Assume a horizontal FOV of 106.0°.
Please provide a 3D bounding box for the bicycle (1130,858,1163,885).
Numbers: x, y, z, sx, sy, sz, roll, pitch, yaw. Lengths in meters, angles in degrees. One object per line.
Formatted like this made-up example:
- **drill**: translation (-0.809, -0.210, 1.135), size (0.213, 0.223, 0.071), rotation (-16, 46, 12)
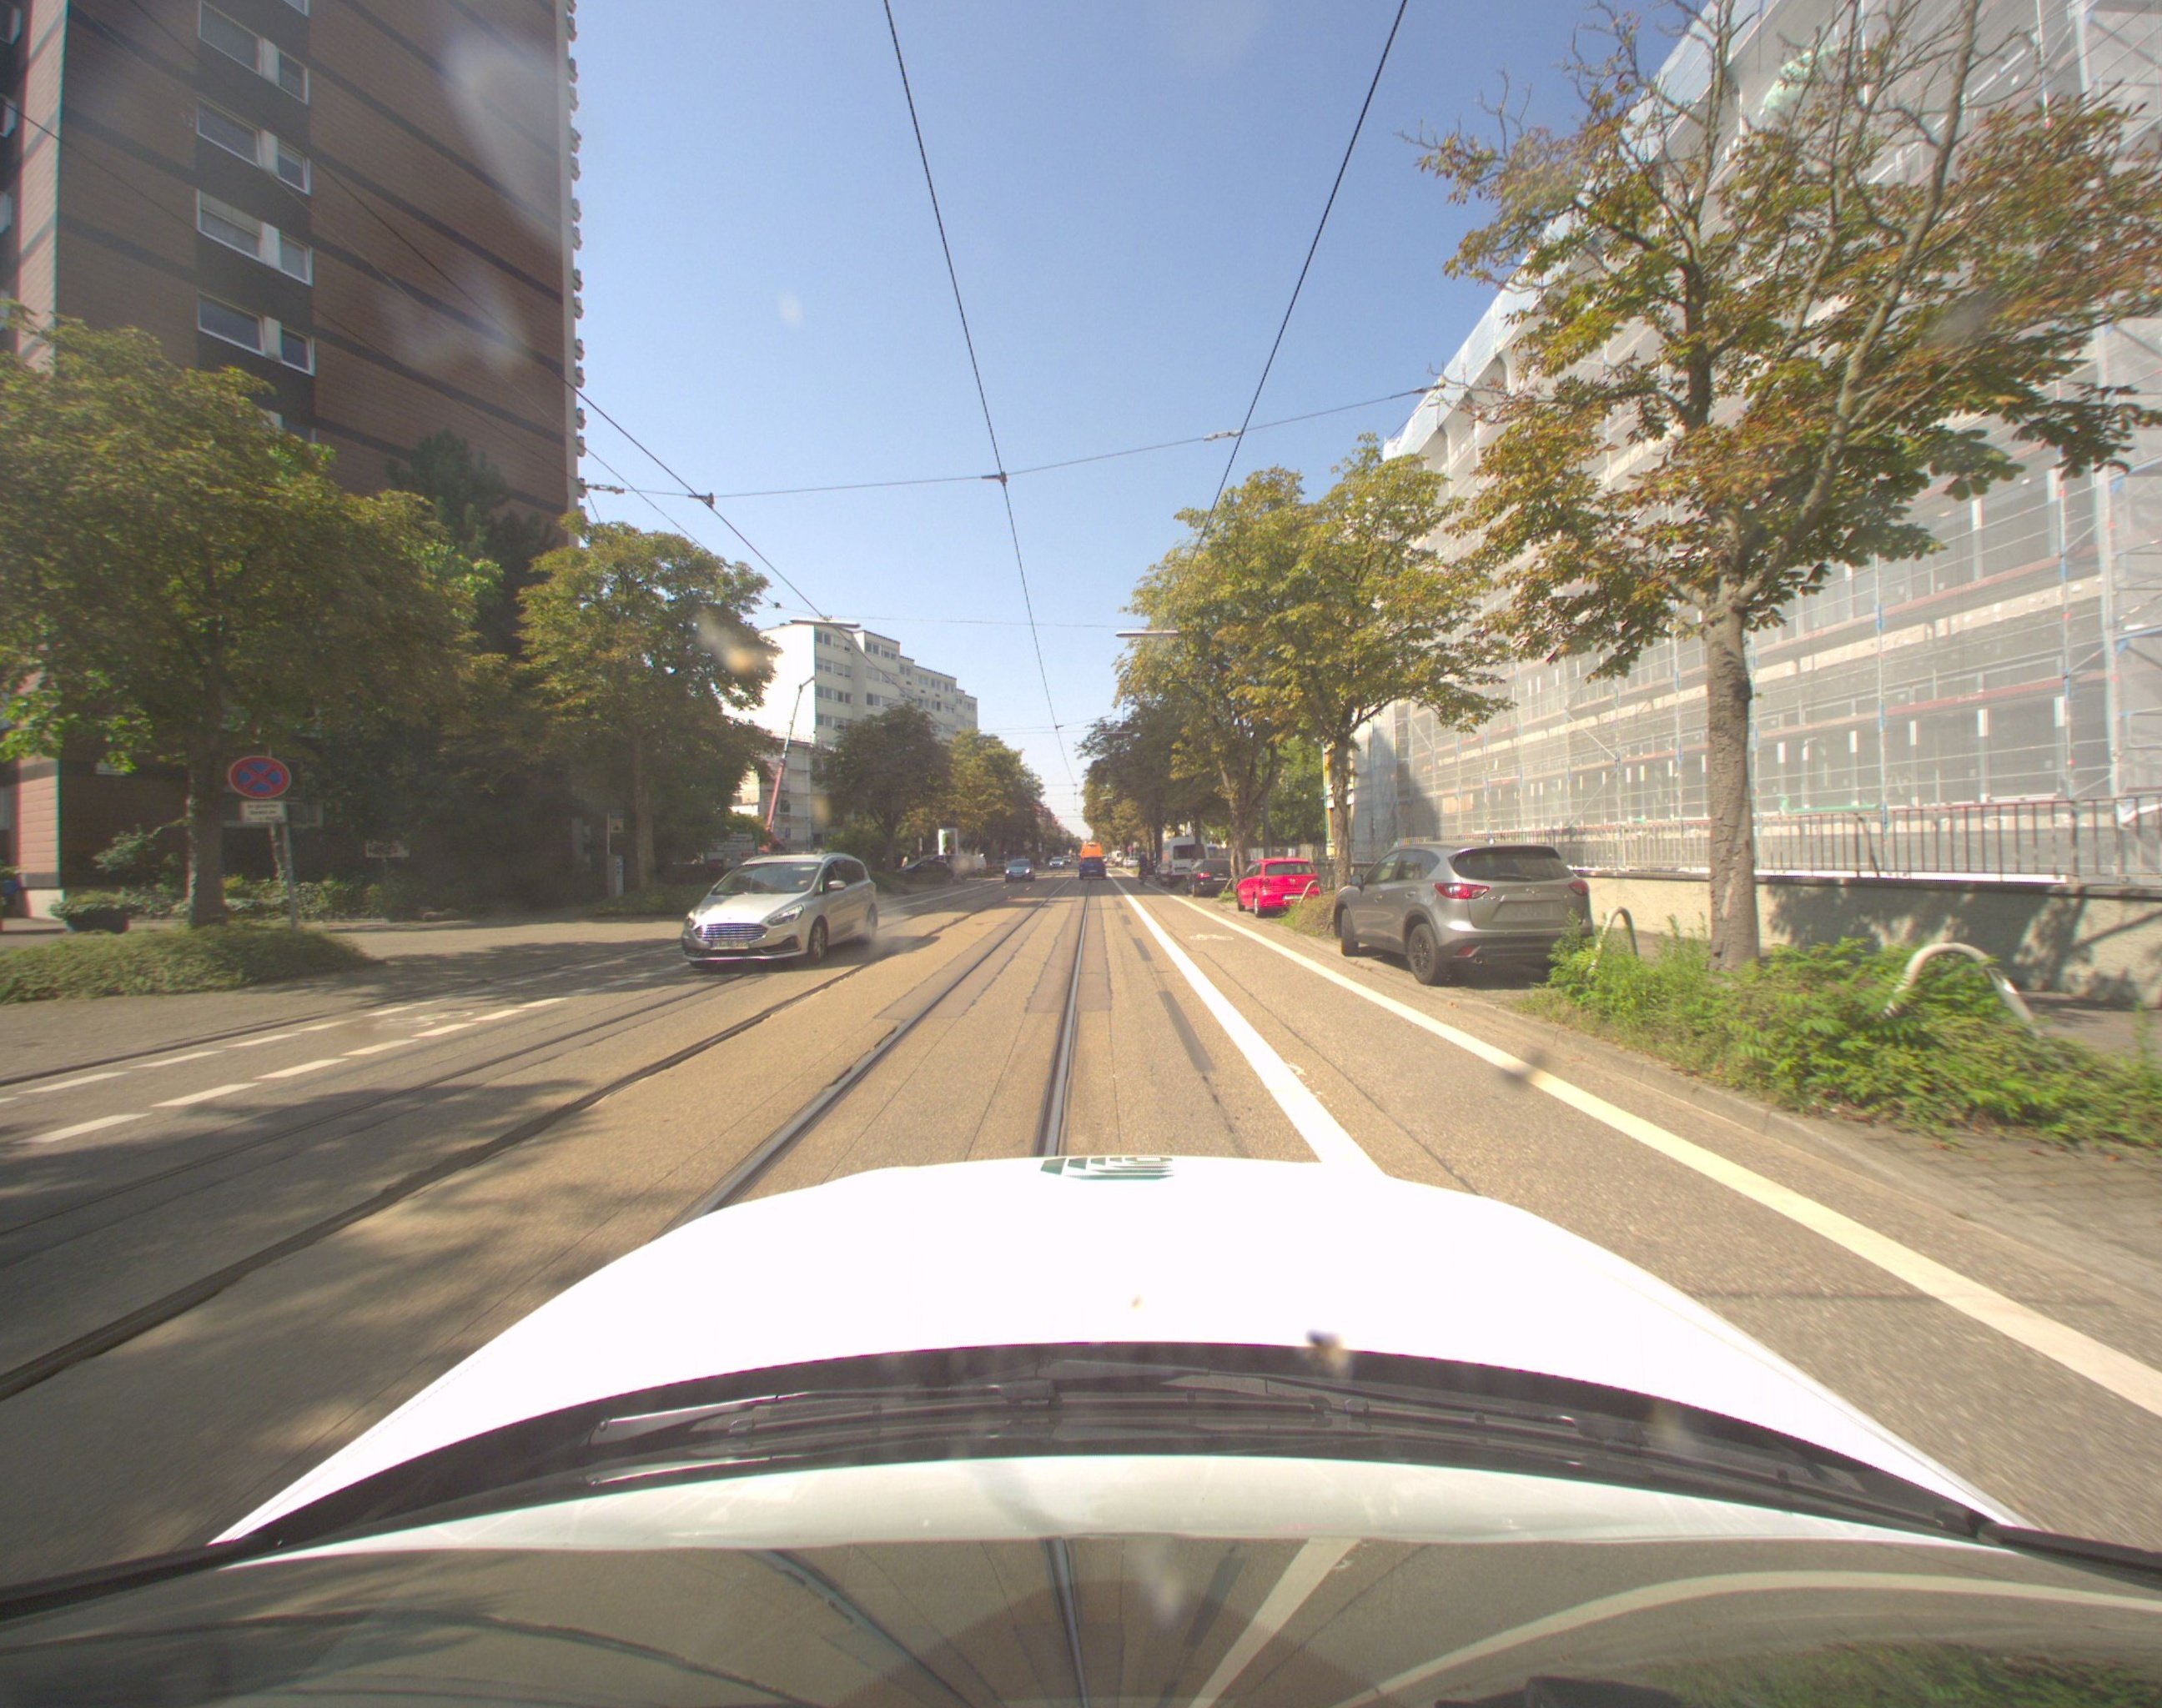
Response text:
- **bicycle**: translation (3.292, 0.839, 41.307), size (1.397, 1.134, 4.001), rotation (-1, 2, 1)

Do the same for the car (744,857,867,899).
- **car**: translation (-11.135, 0.940, 32.952), size (4.589, 1.552, 1.985), rotation (-1, 0, -23)

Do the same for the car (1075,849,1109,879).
- **car**: translation (0.752, 0.627, 55.272), size (2.128, 1.858, 5.569), rotation (-2, 0, 1)

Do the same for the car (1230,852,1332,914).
- **car**: translation (5.121, 0.700, 21.313), size (1.735, 1.462, 3.683), rotation (-1, 0, 0)

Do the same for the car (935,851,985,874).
- **car**: translation (-10.582, 0.724, 71.437), size (4.022, 2.013, 1.834), rotation (0, 0, -42)

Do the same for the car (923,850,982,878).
- **car**: translation (-9.586, 0.733, 60.759), size (4.022, 2.013, 1.834), rotation (0, 0, -42)

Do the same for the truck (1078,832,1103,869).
- **truck**: translation (0.894, -0.312, 74.756), size (2.128, 3.124, 6.086), rotation (-2, 0, 1)

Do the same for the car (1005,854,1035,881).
- **car**: translation (-3.909, 0.839, 52.540), size (1.628, 1.585, 4.188), rotation (-1, 0, 0)

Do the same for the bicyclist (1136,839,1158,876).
- **bicyclist**: translation (3.318, 0.168, 41.307), size (1.028, 1.812, 1.016), rotation (-1, 0, 0)

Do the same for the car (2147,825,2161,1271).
- **car**: translation (4.645, 0.684, 0.838), size (1.628, 1.585, 4.188), rotation (-1, 0, 0)

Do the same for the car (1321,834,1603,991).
- **car**: translation (4.744, 0.622, 10.933), size (1.735, 1.668, 4.361), rotation (-1, 0, 0)

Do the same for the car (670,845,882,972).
- **car**: translation (-4.647, 0.733, 13.158), size (1.774, 1.684, 4.346), rotation (-1, 0, 0)

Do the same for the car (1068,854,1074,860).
- **car**: translation (-2.765, 0.789, 224.966), size (1.741, 1.796, 3.999), rotation (-1, 0, 0)

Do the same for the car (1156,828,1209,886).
- **car**: translation (5.165, 0.140, 42.049), size (1.987, 2.755, 5.760), rotation (-1, 0, 0)

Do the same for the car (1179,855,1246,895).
- **car**: translation (4.988, 0.759, 31.454), size (1.902, 1.431, 4.291), rotation (-1, 0, 0)

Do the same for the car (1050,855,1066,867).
- **car**: translation (-2.944, 0.917, 105.869), size (1.893, 1.562, 4.121), rotation (-1, 0, 0)

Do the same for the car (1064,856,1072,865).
- **car**: translation (-2.657, 1.266, 165.339), size (1.622, 1.704, 3.999), rotation (-1, 0, 0)
